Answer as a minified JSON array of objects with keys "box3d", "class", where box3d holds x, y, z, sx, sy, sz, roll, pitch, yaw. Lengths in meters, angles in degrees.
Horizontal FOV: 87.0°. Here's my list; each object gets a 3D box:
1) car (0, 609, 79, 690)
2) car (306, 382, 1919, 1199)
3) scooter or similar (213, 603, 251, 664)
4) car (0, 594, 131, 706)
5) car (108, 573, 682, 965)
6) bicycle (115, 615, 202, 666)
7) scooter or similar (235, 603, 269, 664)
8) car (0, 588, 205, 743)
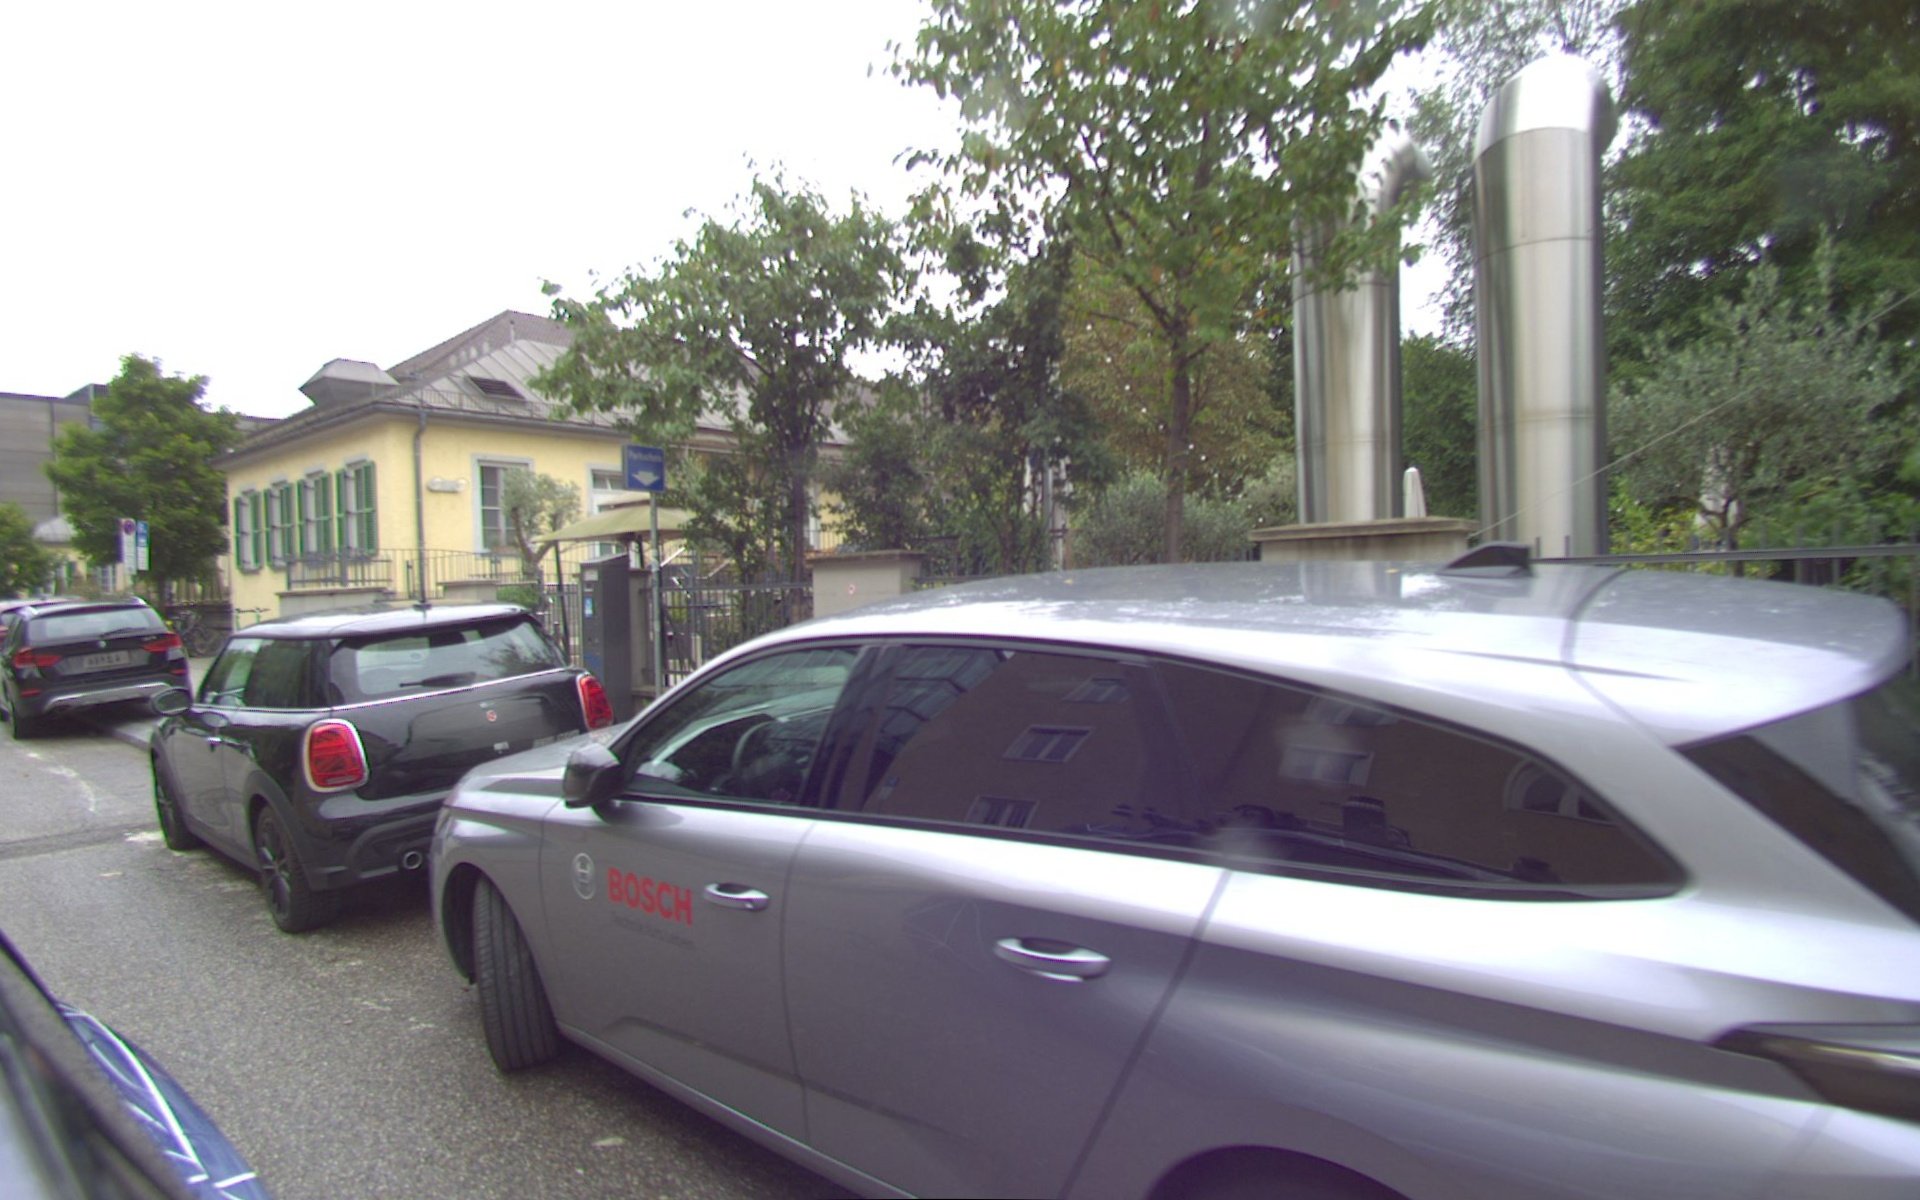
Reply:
[{"box3d":[-20.747,1.058,21.770,4.650,1.530,1.878,-1,2,39],"class":"car"},{"box3d":[0.172,0.579,2.767,4.690,1.555,1.869,-2,1,39],"class":"car"},{"box3d":[-16.958,0.756,23.579,0.370,1.353,1.357,-2,0,-22],"class":"scooter or similar"},{"box3d":[-16.652,0.832,18.270,4.807,1.704,1.882,-1,2,43],"class":"car"},{"box3d":[-3.639,0.703,6.137,4.187,1.556,1.839,-1,-1,43],"class":"car"},{"box3d":[-19.825,0.990,25.054,0.387,1.145,1.612,-2,1,39],"class":"bicycle"},{"box3d":[-15.936,0.741,22.802,0.358,1.324,1.257,-2,0,-25],"class":"scooter or similar"},{"box3d":[-11.701,0.747,13.432,4.743,1.619,1.826,-1,2,43],"class":"car"}]
